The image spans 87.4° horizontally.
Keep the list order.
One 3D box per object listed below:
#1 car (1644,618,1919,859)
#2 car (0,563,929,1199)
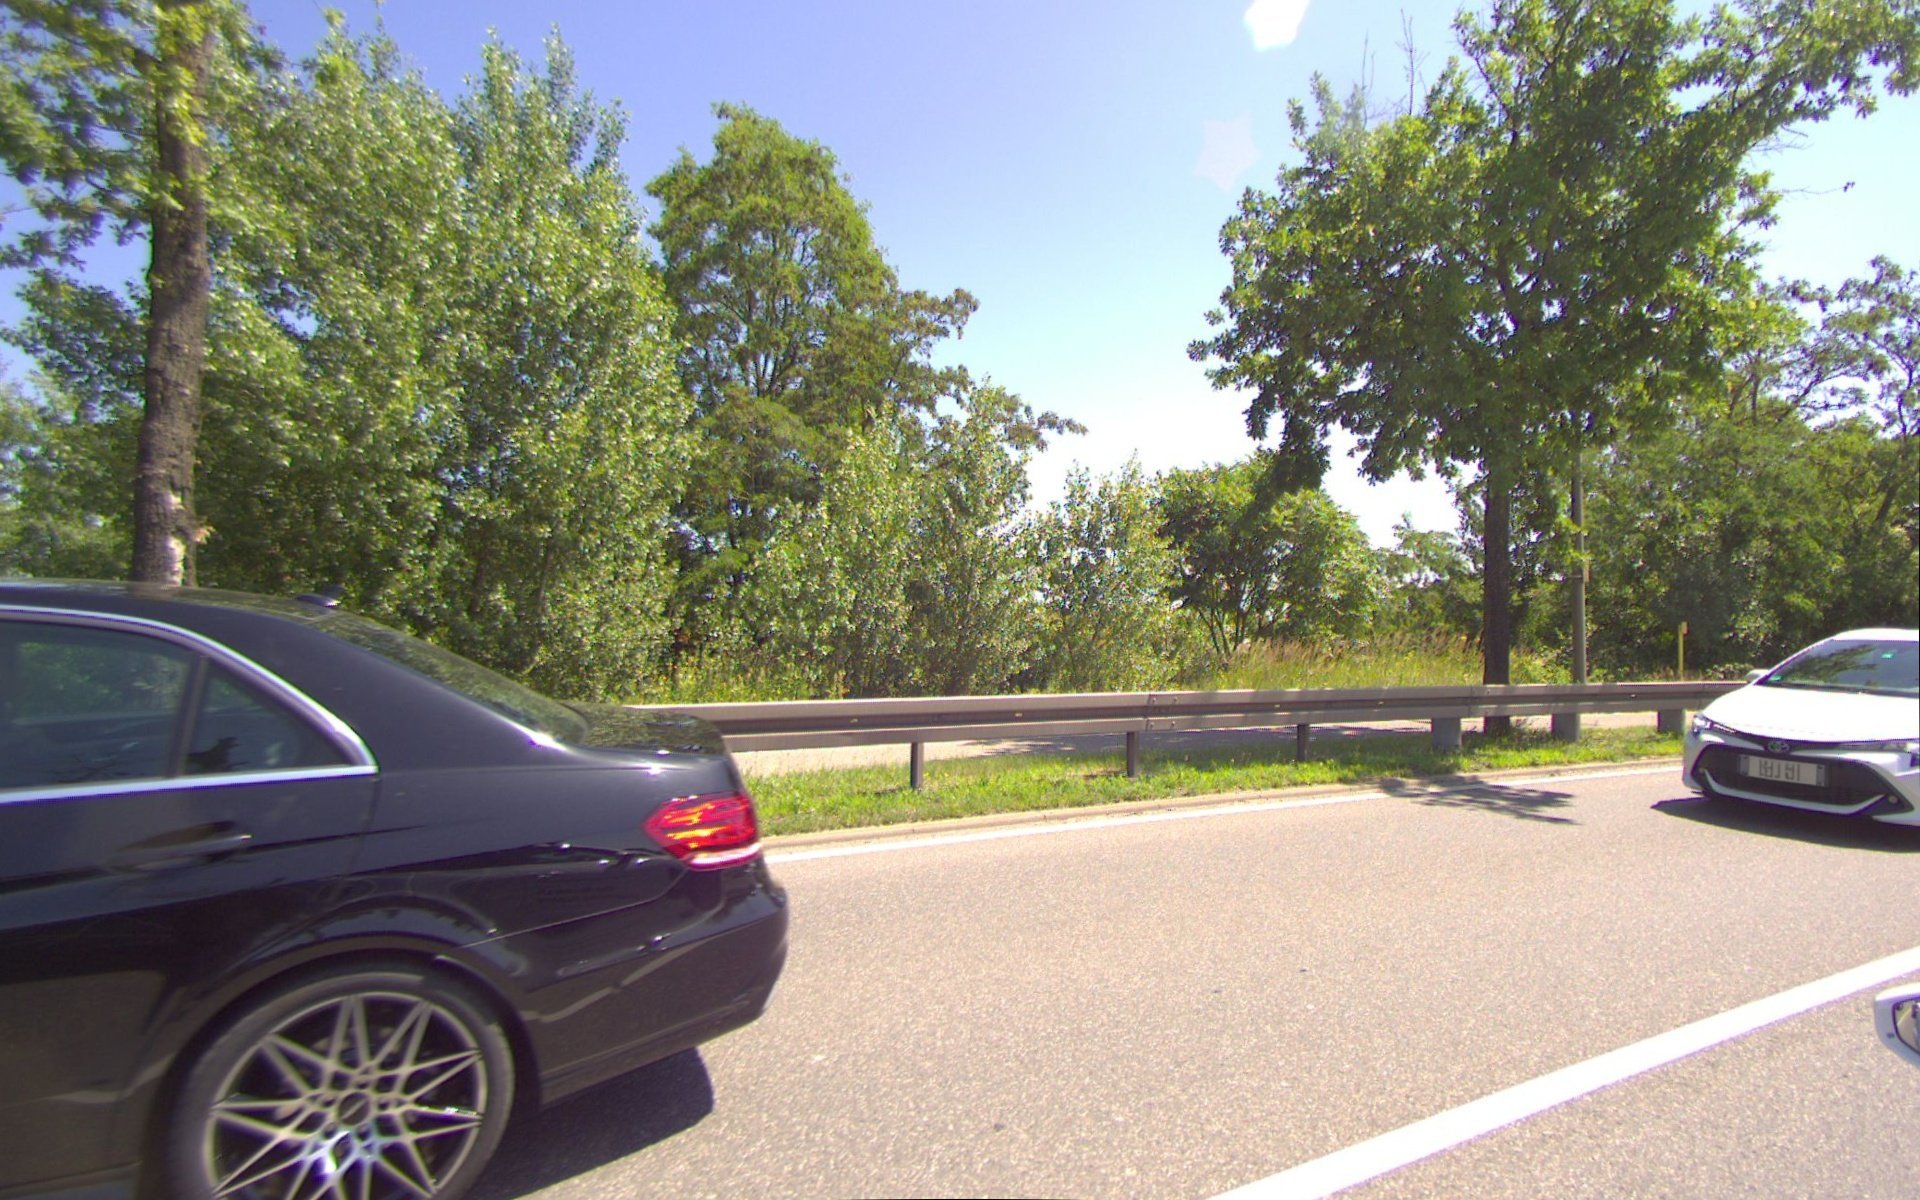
[{"bbox_3d":[7.681,0.941,8.049,4.401,1.466,1.695,2,0,-27],"label":"car"},{"bbox_3d":[-2.574,0.653,2.365,4.685,1.487,1.837,2,0,-30],"label":"car"}]
